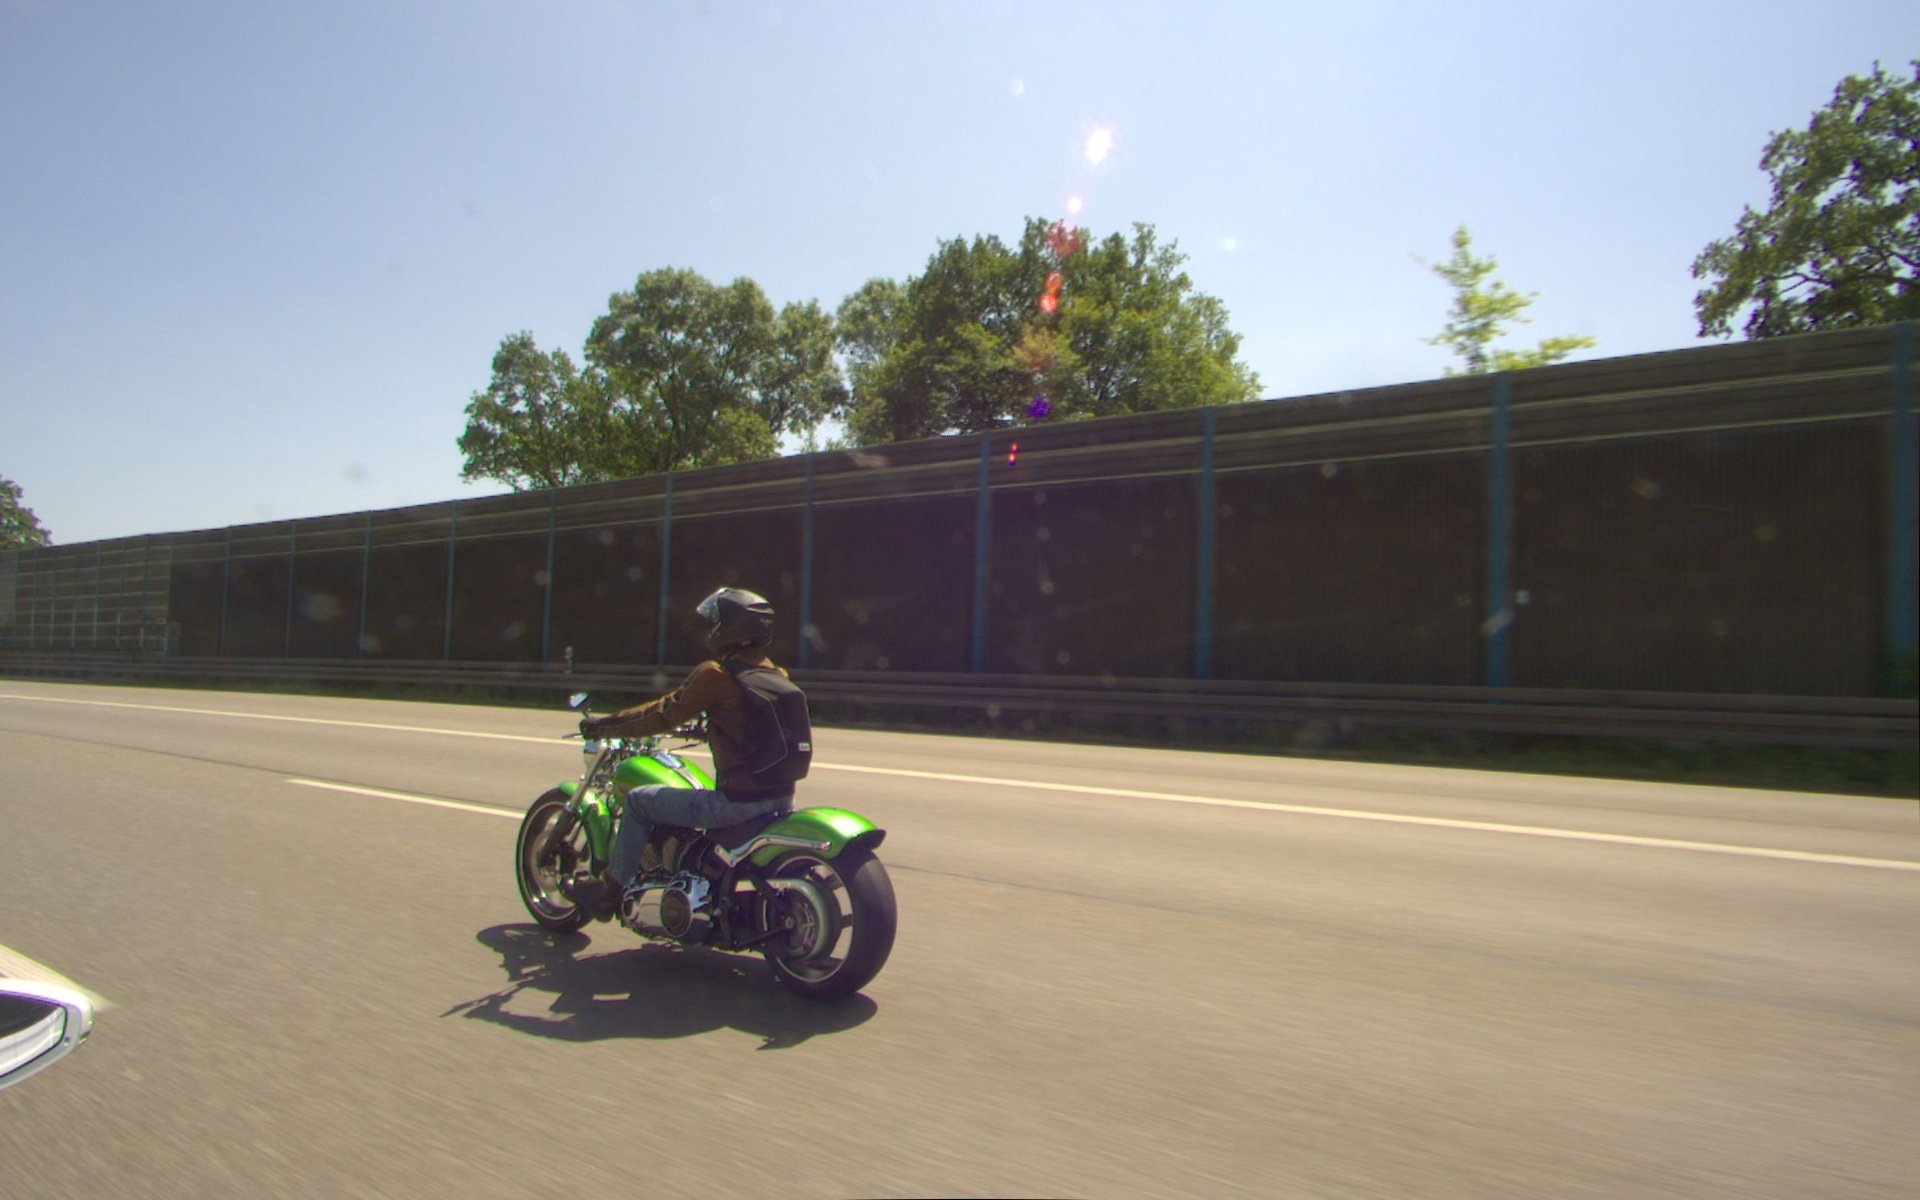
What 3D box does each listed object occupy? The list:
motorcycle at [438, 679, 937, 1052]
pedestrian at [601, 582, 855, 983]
[{"bbox_3d":[-1.272,1.003,4.470,2.244,1.197,0.858,0,-2,32],"label":"motorcycle"},{"bbox_3d":[-0.968,0.701,4.290,0.629,1.497,0.850,0,-1,32],"label":"pedestrian"}]
